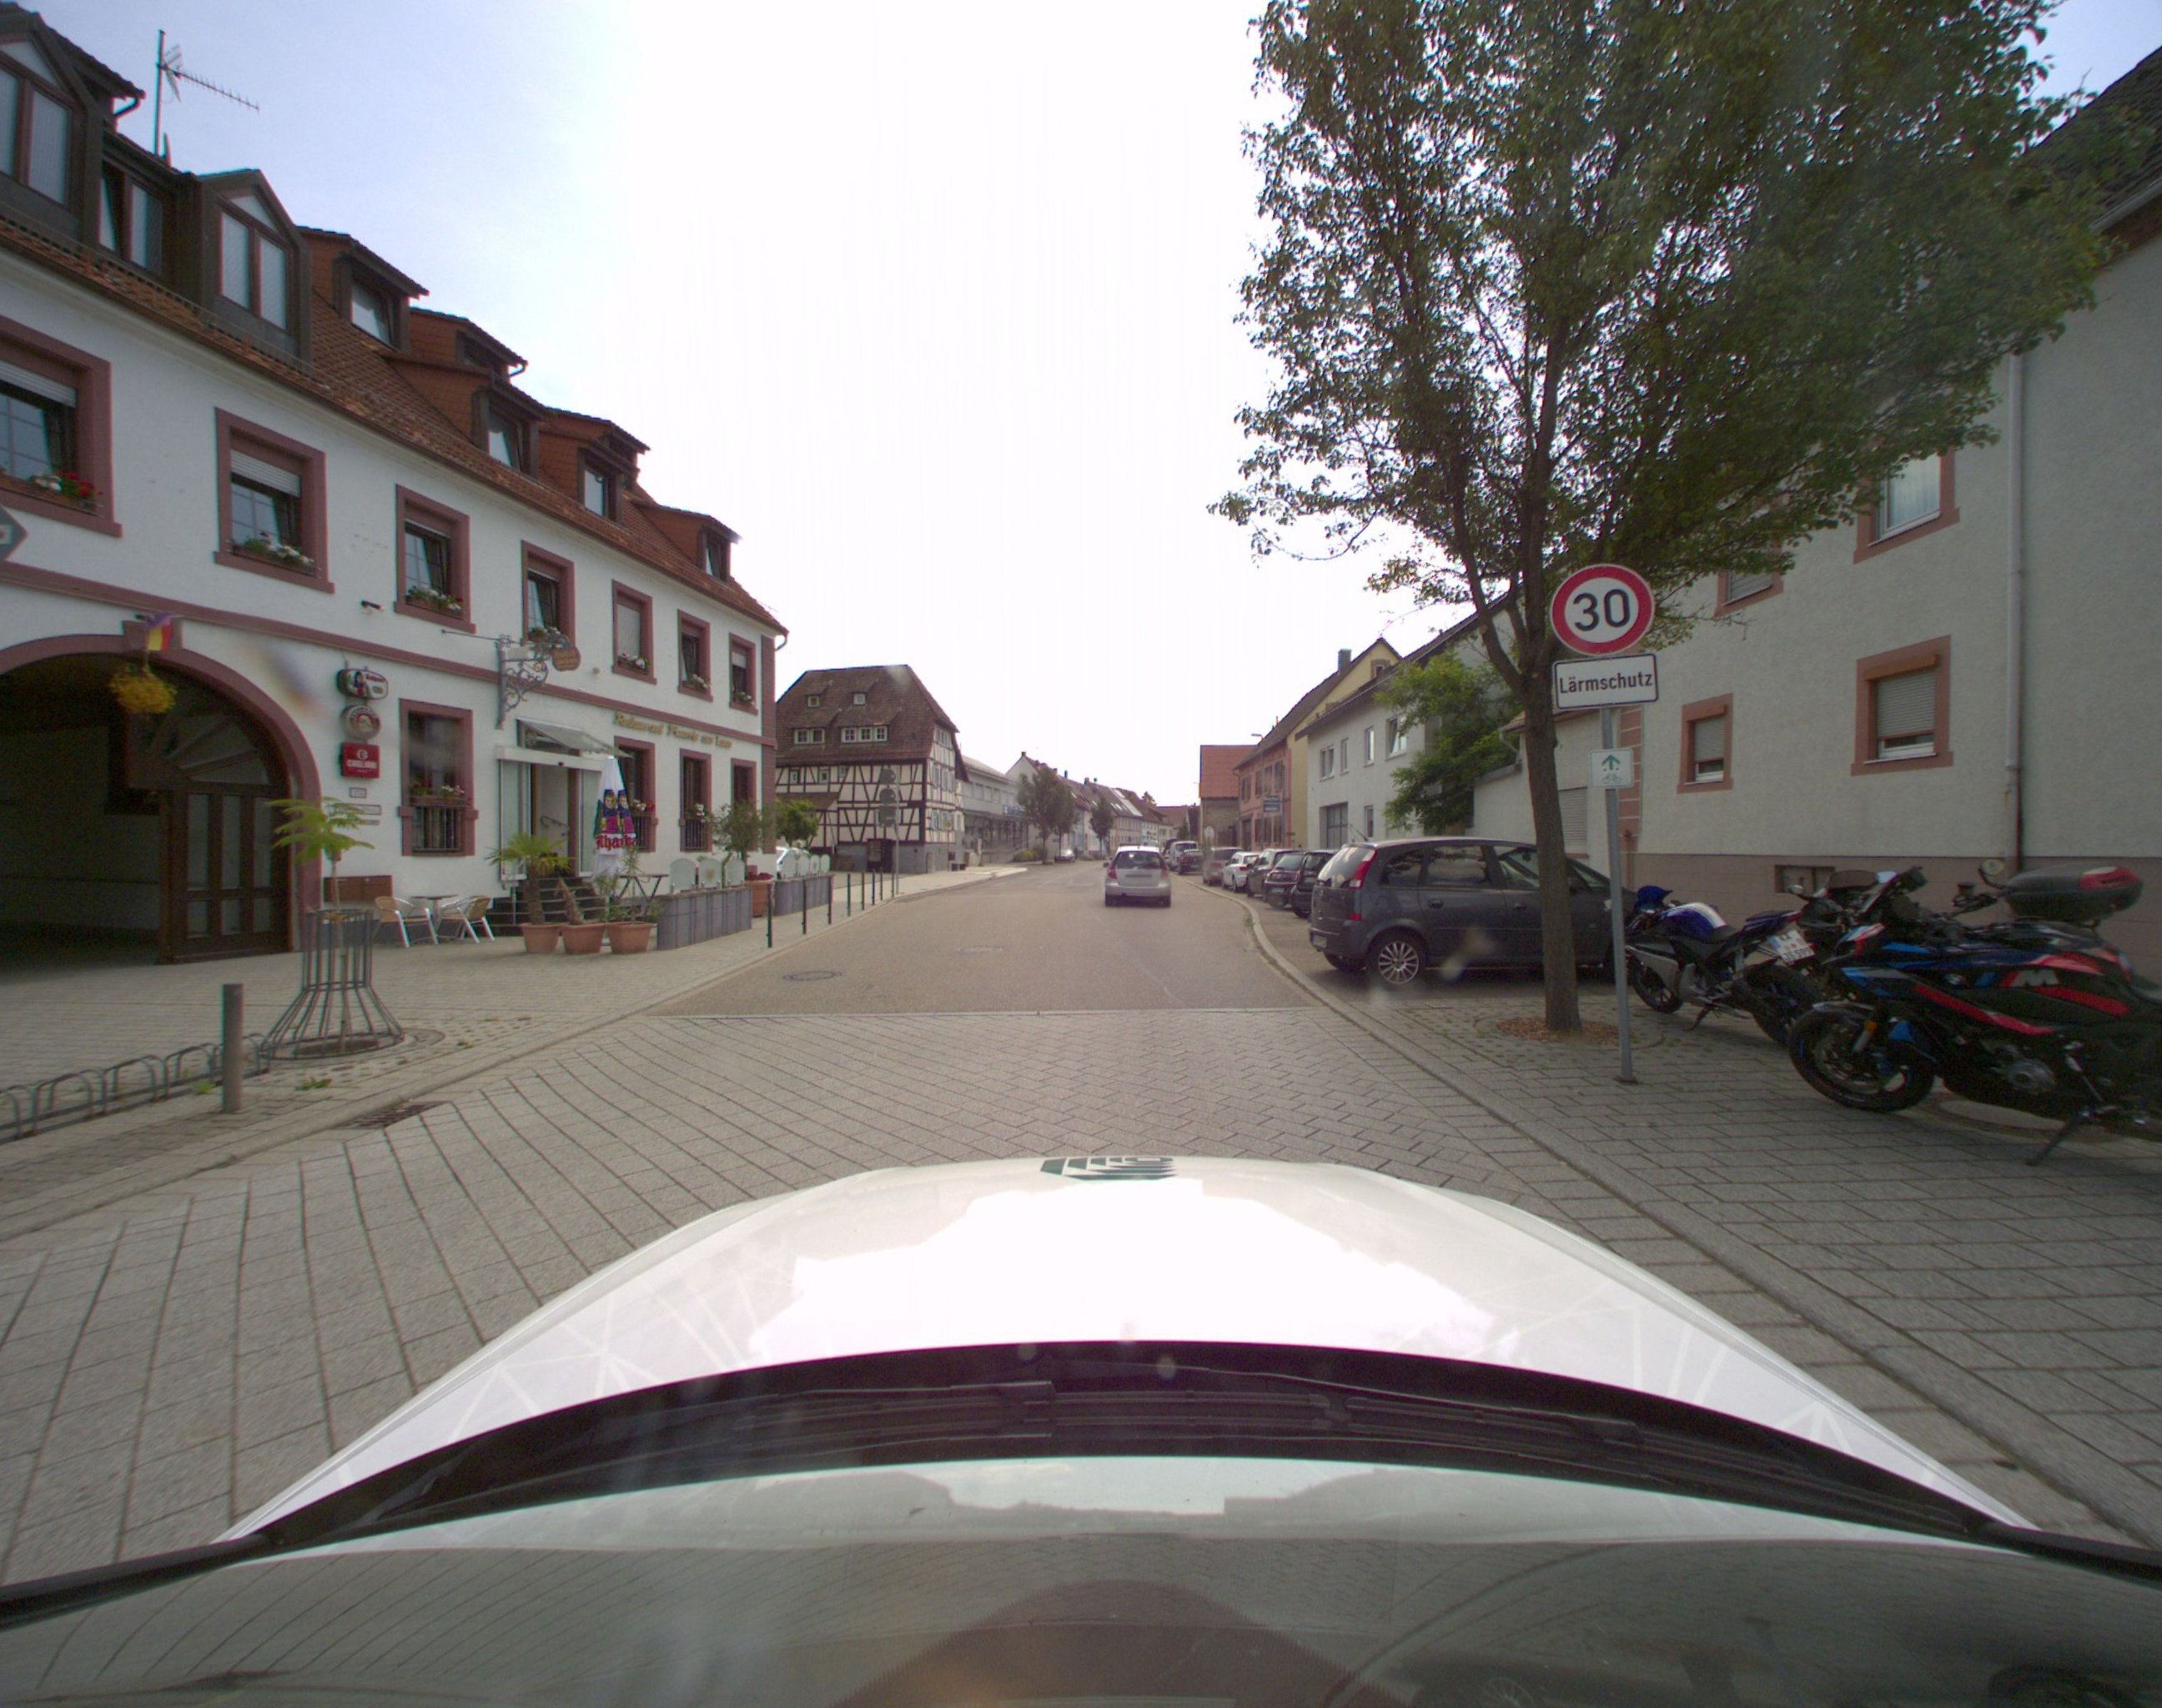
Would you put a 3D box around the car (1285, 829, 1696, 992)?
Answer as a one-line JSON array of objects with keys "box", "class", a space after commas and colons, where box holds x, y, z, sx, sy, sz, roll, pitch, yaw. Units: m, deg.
[{"box": [4.535, 0.588, 9.467, 3.836, 1.577, 1.850, -2, 0, -1], "class": "car"}]

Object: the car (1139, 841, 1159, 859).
[{"box": [8.776, -0.532, 104.299, 2.223, 2.222, 4.010, -1, 0, 9], "class": "car"}]

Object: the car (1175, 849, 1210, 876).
[{"box": [6.671, 0.472, 48.917, 1.767, 1.495, 4.166, -1, 0, 4], "class": "car"}]

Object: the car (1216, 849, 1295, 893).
[{"box": [6.404, 0.579, 30.383, 1.987, 1.517, 4.370, -1, 0, 0], "class": "car"}]

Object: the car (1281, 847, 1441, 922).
[{"box": [6.128, 0.604, 17.924, 2.788, 1.504, 1.865, -1, 0, -20], "class": "car"}]

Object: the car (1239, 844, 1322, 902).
[{"box": [6.035, 0.507, 25.120, 1.656, 1.624, 4.274, -1, 0, 2], "class": "car"}]

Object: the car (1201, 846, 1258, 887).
[{"box": [6.414, 0.496, 35.616, 1.985, 1.680, 4.327, -1, 0, 4], "class": "car"}]

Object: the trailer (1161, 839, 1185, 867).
[{"box": [8.082, -0.110, 71.587, 1.837, 2.354, 3.592, -1, 0, 3], "class": "trailer"}]

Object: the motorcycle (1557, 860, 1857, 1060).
[{"box": [4.815, 0.713, 6.524, 0.627, 1.298, 2.181, -1, 0, -3], "class": "motorcycle"}]

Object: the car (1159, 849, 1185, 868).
[{"box": [7.403, 0.338, 66.490, 1.867, 1.481, 4.679, 1, 1, 4], "class": "car"}]

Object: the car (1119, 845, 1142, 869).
[{"box": [4.228, 0.253, 68.962, 1.761, 1.887, 4.452, 2, 0, 5], "class": "car"}]

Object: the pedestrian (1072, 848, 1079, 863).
[{"box": [-0.651, 0.153, 98.508, 0.735, 1.801, 0.643, -1, -1, 5], "class": "pedestrian"}]

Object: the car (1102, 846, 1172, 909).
[{"box": [1.496, 0.595, 22.866, 1.762, 1.594, 4.002, -1, 0, 2], "class": "car"}]

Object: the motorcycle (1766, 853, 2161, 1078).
[{"box": [6.244, 0.663, 5.912, 0.953, 1.298, 2.232, -2, 0, 11], "class": "motorcycle"}]

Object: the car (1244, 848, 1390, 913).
[{"box": [6.053, 0.619, 20.912, 3.242, 1.504, 1.811, -1, 0, -26], "class": "car"}]

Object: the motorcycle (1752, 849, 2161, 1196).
[{"box": [4.550, 0.677, 3.719, 0.877, 1.394, 2.198, -1, 0, -44], "class": "motorcycle"}]

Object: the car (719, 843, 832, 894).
[{"box": [-10.204, 0.439, 27.535, 1.749, 1.492, 4.283, 3, 1, 6], "class": "car"}]

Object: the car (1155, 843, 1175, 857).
[{"box": [9.374, -0.457, 90.743, 1.985, 1.559, 4.003, -2, 0, 3], "class": "car"}]

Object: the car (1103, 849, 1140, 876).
[{"box": [2.219, 0.420, 44.727, 1.937, 1.407, 4.003, 0, 1, 3], "class": "car"}]

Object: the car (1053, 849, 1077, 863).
[{"box": [-1.627, 0.180, 84.873, 1.794, 1.460, 4.167, 1, 1, 8], "class": "car"}]

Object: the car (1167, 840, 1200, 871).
[{"box": [7.124, 0.070, 56.882, 1.884, 1.982, 4.936, -2, 0, 4], "class": "car"}]
